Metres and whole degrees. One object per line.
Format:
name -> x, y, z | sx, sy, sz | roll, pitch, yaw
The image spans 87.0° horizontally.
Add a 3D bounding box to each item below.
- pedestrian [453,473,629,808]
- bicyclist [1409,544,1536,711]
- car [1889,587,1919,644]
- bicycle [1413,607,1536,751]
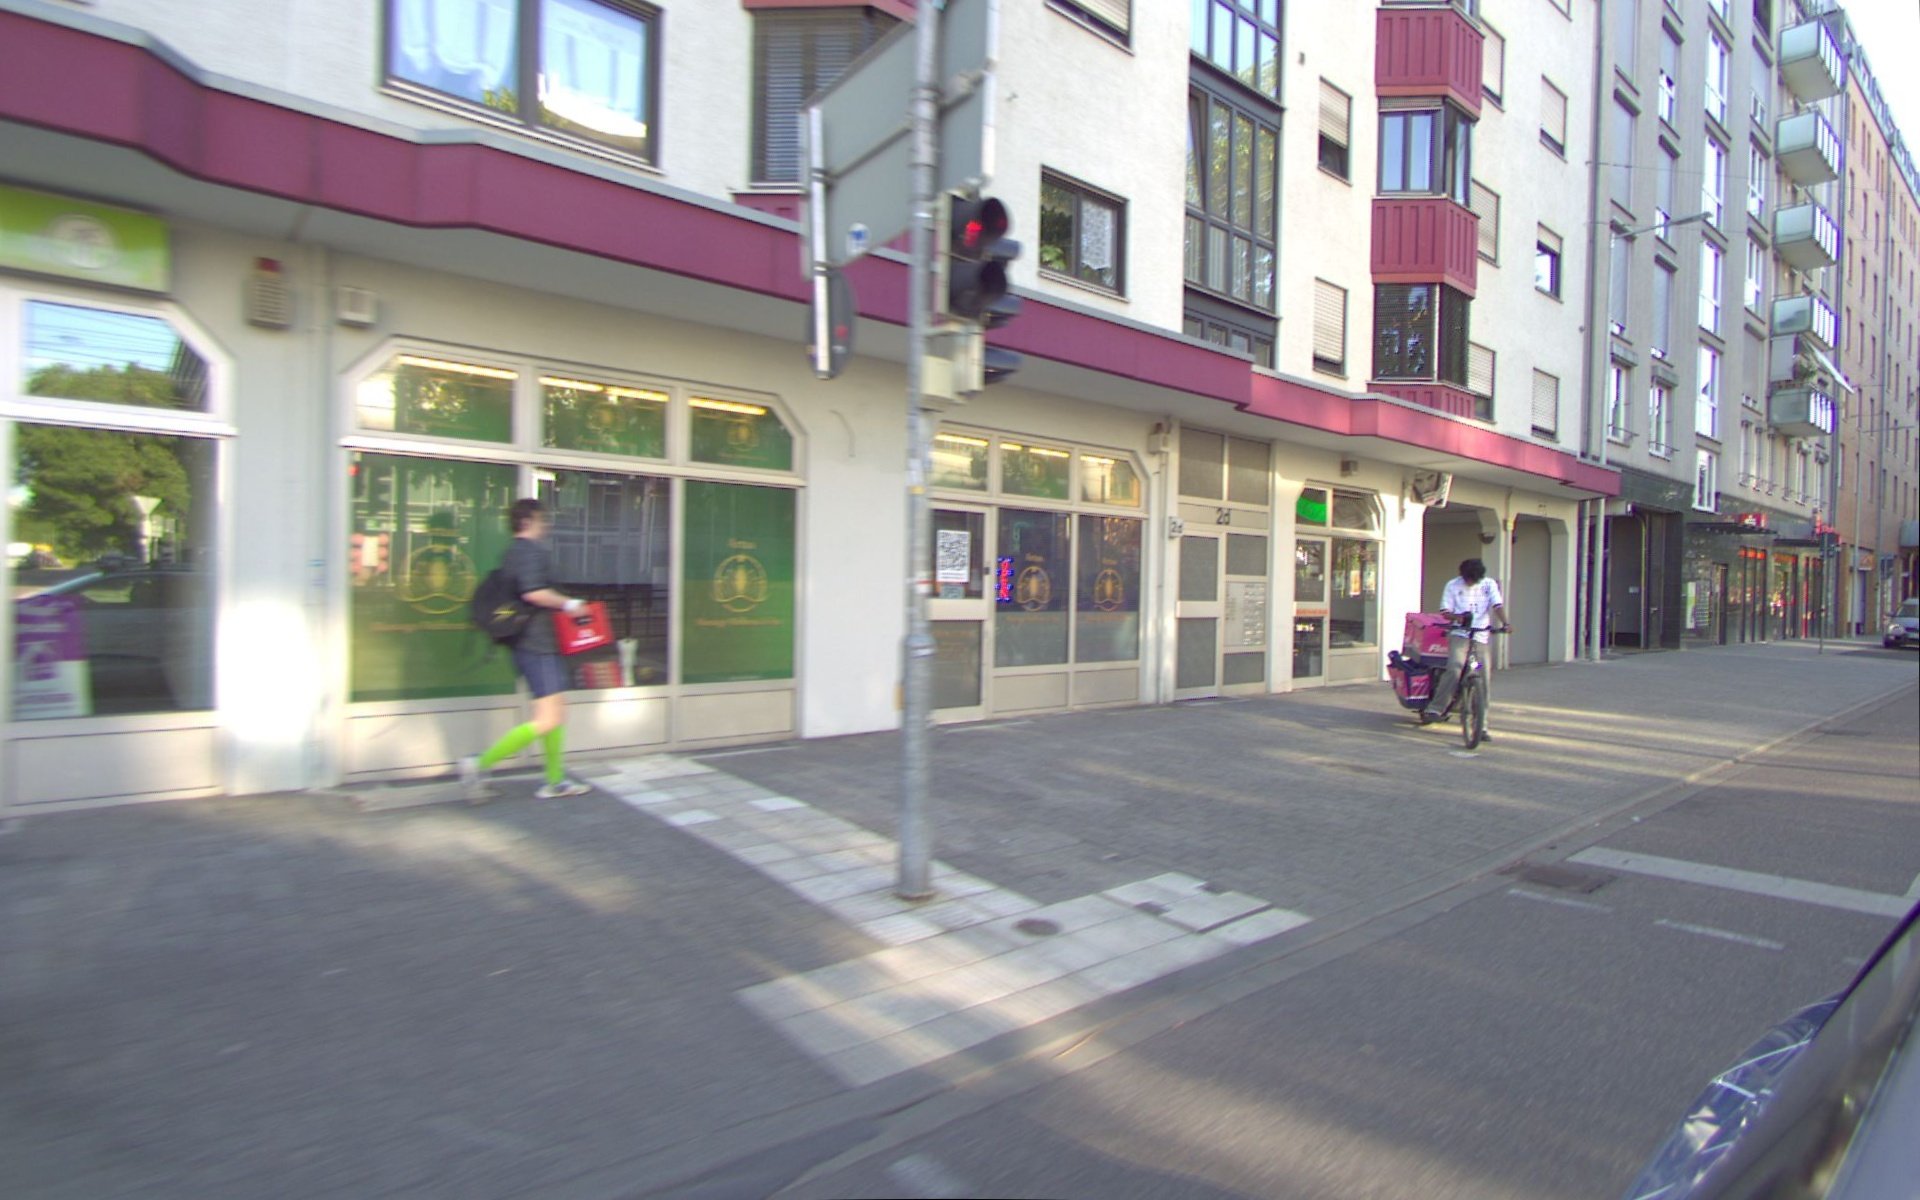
pedestrian -> -2.572, 0.223, 6.212 | 0.787, 1.881, 0.724 | 1, 0, -40
bicyclist -> 5.102, 0.242, 10.146 | 1.049, 1.559, 1.069 | 1, 0, 26
car -> 30.487, 0.518, 31.369 | 4.207, 1.642, 1.838 | 1, 3, -39
bicycle -> 5.103, 0.696, 10.161 | 0.953, 1.198, 2.575 | 1, 1, 25
